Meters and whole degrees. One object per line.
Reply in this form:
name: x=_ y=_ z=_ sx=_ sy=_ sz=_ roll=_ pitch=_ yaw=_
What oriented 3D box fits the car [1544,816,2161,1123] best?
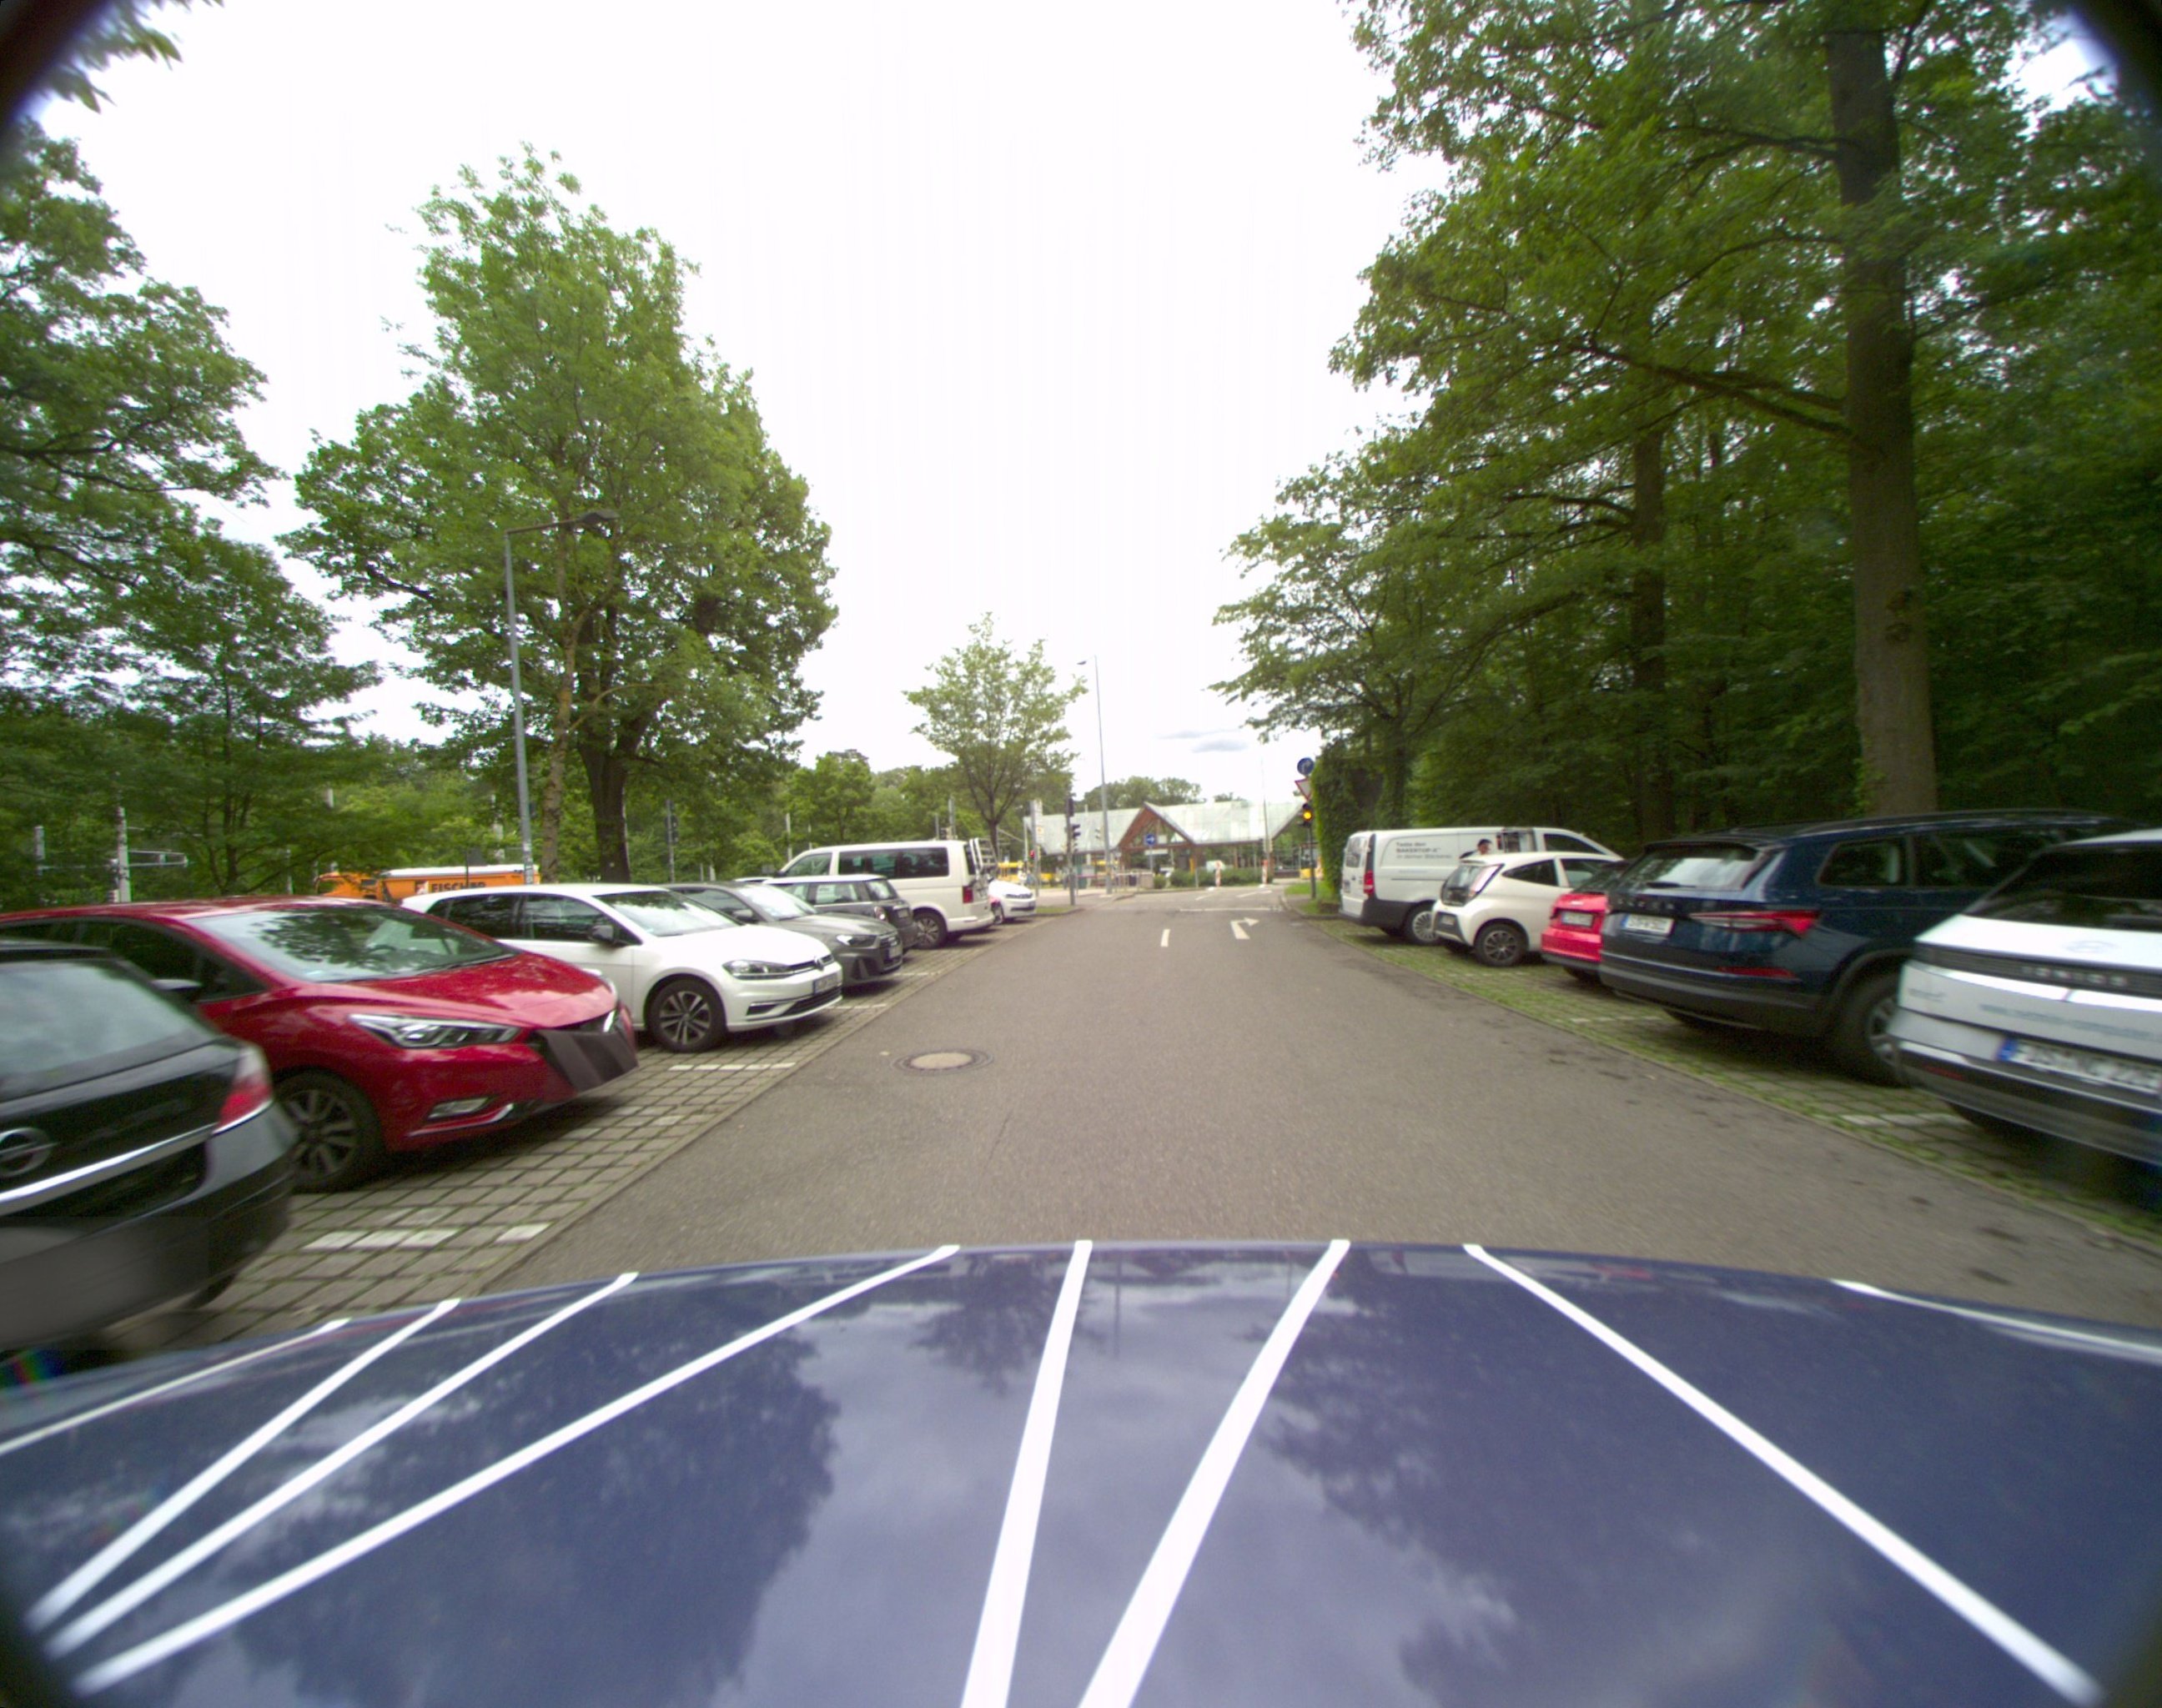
car: x=6.185 y=0.641 z=5.356 sx=4.435 sy=1.684 sz=2.172 roll=-3 pitch=0 yaw=4

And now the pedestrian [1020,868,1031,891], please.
pedestrian: x=-4.406 y=2.054 z=60.643 sx=0.736 sy=1.746 sz=0.668 roll=-4 pitch=-2 yaw=-6

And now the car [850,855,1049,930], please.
car: x=-3.332 y=0.965 z=19.690 sx=4.527 sy=1.683 sz=2.167 roll=-2 pitch=1 yaw=11

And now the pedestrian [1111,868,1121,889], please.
pedestrian: x=2.981 y=2.044 z=64.088 sx=0.656 sy=1.746 sz=0.668 roll=-4 pitch=-2 yaw=-5

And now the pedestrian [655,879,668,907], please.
pedestrian: x=-35.108 y=3.228 z=63.587 sx=0.864 sy=2.280 sz=0.616 roll=-3 pitch=-2 yaw=-34

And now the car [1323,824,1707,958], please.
car: x=6.844 y=0.588 z=12.537 sx=5.096 sy=1.904 sz=1.979 roll=-2 pitch=0 yaw=7

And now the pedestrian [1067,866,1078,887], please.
pedestrian: x=-0.737 y=1.976 z=65.991 sx=0.670 sy=1.746 sz=0.560 roll=-2 pitch=-2 yaw=-43

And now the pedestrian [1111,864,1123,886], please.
pedestrian: x=2.938 y=1.729 z=61.719 sx=0.667 sy=1.746 sz=0.657 roll=-5 pitch=-2 yaw=30

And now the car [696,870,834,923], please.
car: x=-12.463 y=1.668 z=30.194 sx=4.577 sy=1.739 sz=2.000 roll=-4 pitch=-2 yaw=-6

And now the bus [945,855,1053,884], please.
bus: x=-11.132 y=2.070 z=107.945 sx=3.969 sy=3.461 sz=18.615 roll=-5 pitch=-3 yaw=34

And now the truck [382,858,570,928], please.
truck: x=-33.982 y=2.156 z=42.875 sx=8.241 sy=3.493 sz=2.869 roll=-2 pitch=-1 yaw=0

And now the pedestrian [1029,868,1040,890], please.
pedestrian: x=-3.691 y=2.010 z=60.887 sx=0.736 sy=1.746 sz=0.668 roll=-4 pitch=-2 yaw=-7

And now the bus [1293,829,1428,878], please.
bus: x=20.682 y=-0.094 z=55.930 sx=10.532 sy=3.139 sz=2.807 roll=-2 pitch=-2 yaw=-27

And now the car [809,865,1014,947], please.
car: x=-3.779 y=1.147 z=17.245 sx=4.003 sy=1.546 sz=1.949 roll=-4 pitch=-1 yaw=12

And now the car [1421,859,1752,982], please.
car: x=6.443 y=0.823 z=10.034 sx=3.231 sy=1.457 sz=1.656 roll=-1 pitch=-1 yaw=8

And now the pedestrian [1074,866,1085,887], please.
pedestrian: x=-0.131 y=1.949 z=65.677 sx=0.601 sy=1.746 sz=0.667 roll=-3 pitch=-2 yaw=-29

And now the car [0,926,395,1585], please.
car: x=-4.597 y=1.077 z=1.915 sx=3.996 sy=1.474 sz=1.922 roll=-2 pitch=0 yaw=2

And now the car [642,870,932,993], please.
car: x=-4.475 y=1.168 z=11.947 sx=3.731 sy=1.545 sz=1.847 roll=-4 pitch=-2 yaw=4

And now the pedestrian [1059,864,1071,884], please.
pedestrian: x=-1.423 y=1.739 z=66.316 sx=0.732 sy=1.746 sz=0.738 roll=-5 pitch=-2 yaw=20

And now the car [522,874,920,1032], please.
car: x=-4.304 y=1.160 z=9.530 sx=3.996 sy=1.475 sz=1.877 roll=-4 pitch=1 yaw=4

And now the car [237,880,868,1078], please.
car: x=-4.709 y=1.093 z=7.188 sx=4.782 sy=1.467 sz=1.854 roll=-2 pitch=0 yaw=5

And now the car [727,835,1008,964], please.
car: x=-3.966 y=0.855 z=14.640 sx=4.658 sy=2.008 sz=2.085 roll=-4 pitch=-1 yaw=6

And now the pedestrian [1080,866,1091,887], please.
pedestrian: x=0.411 y=1.946 z=65.960 sx=0.601 sy=1.746 sz=0.667 roll=-3 pitch=-2 yaw=-29

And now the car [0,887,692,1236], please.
car: x=-4.977 y=1.071 z=4.561 sx=4.238 sy=1.472 sz=1.919 roll=-2 pitch=1 yaw=2

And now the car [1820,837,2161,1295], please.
car: x=5.987 y=0.697 z=2.845 sx=4.365 sy=1.588 sz=2.031 roll=-2 pitch=1 yaw=3

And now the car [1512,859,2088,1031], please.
car: x=6.871 y=0.823 z=7.649 sx=3.996 sy=1.436 sz=1.823 roll=-1 pitch=0 yaw=2
